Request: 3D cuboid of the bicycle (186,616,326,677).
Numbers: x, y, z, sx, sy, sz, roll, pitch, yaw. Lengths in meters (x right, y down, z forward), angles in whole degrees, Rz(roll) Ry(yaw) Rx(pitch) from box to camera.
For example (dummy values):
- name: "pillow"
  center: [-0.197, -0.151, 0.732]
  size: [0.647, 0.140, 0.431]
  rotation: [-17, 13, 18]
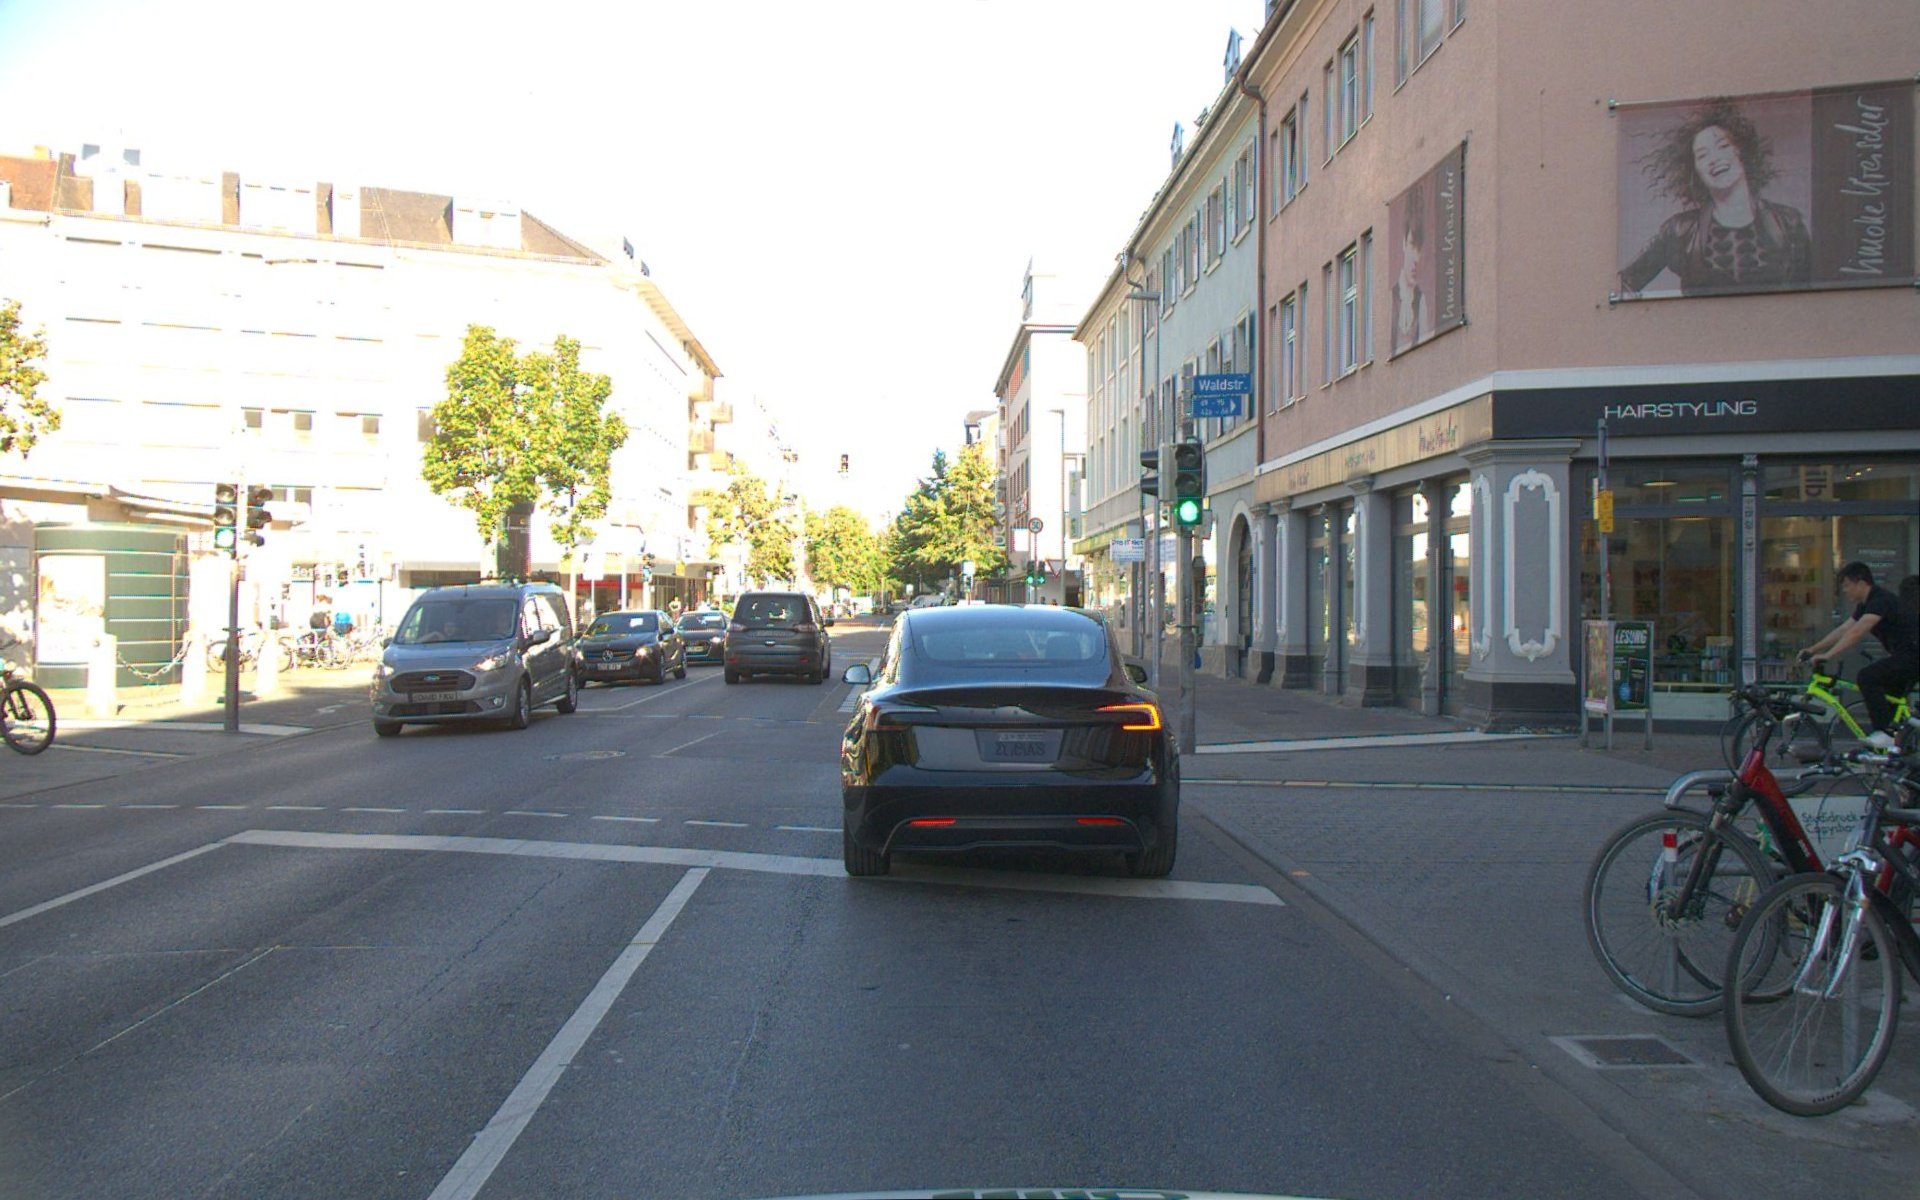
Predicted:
- name: "bicycle"
  center: [-14.212, 0.933, 33.453]
  size: [2.455, 1.176, 0.842]
  rotation: [0, 0, -3]

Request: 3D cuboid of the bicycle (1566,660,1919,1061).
- name: "bicycle"
  center: [3.234, 0.881, 5.909]
  size: [1.822, 1.280, 0.833]
  rotation: [-2, 0, 4]

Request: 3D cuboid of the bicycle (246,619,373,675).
- name: "bicycle"
  center: [-14.137, 1.020, 35.987]
  size: [2.412, 1.176, 0.842]
  rotation: [0, 0, -3]

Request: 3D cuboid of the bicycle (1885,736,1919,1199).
- name: "bicycle"
  center: [3.164, 0.921, 3.684]
  size: [1.760, 1.144, 0.782]
  rotation: [0, 0, 4]

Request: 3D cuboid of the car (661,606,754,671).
- name: "car"
  center: [-6.662, 0.977, 44.139]
  size: [1.954, 1.461, 4.671]
  rotation: [-4, 1, -3]

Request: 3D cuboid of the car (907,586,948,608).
- name: "car"
  center: [-3.129, -0.289, 158.660]
  size: [3.907, 2.049, 1.999]
  rotation: [0, 0, -3]

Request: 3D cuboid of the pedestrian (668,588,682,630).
- name: "pedestrian"
  center: [-14.099, 0.426, 81.920]
  size: [0.563, 2.049, 0.827]
  rotation: [1, 0, -5]

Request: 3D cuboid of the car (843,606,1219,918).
- name: "car"
  center: [0.306, 0.786, 9.960]
  size: [1.810, 1.480, 3.999]
  rotation: [0, 0, -1]

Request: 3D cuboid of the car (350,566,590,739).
- name: "car"
  center: [-6.174, 0.586, 21.415]
  size: [1.797, 1.877, 4.672]
  rotation: [-3, 1, -3]

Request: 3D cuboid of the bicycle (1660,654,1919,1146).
- name: "bicycle"
  center: [3.088, 0.817, 4.862]
  size: [1.709, 1.289, 0.781]
  rotation: [-1, 0, 2]

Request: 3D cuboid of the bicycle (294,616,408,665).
- name: "bicycle"
  center: [-14.943, 0.992, 40.661]
  size: [2.485, 1.176, 0.841]
  rotation: [0, 0, -7]

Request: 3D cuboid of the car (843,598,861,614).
- name: "car"
  center: [-11.631, 0.645, 178.002]
  size: [1.954, 1.666, 3.997]
  rotation: [0, 0, -4]

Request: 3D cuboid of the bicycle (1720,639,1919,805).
- name: "bicycle"
  center: [6.766, 0.887, 12.313]
  size: [1.926, 1.169, 0.791]
  rotation: [-1, 0, 18]

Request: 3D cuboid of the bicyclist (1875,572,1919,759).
- name: "bicyclist"
  center: [7.983, 0.516, 13.316]
  size: [0.926, 1.475, 0.806]
  rotation: [0, 0, 18]

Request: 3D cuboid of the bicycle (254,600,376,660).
- name: "bicycle"
  center: [-14.752, 0.686, 37.907]
  size: [2.430, 1.347, 0.921]
  rotation: [0, 0, -7]

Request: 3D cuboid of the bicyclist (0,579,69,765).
- name: "bicyclist"
  center: [-9.942, 0.716, 17.165]
  size: [0.930, 1.870, 0.788]
  rotation: [1, 0, 22]

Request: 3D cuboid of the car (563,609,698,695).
- name: "car"
  center: [-6.533, 0.978, 33.275]
  size: [1.954, 1.434, 4.671]
  rotation: [-4, 1, -3]

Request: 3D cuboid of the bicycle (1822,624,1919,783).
- name: "bicycle"
  center: [7.980, 0.827, 13.316]
  size: [1.756, 1.243, 0.681]
  rotation: [0, 0, 18]

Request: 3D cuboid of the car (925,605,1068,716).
- name: "car"
  center: [0.482, 0.872, 25.683]
  size: [1.953, 1.538, 4.173]
  rotation: [0, 0, -2]

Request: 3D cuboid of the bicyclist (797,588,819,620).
- name: "bicyclist"
  center: [-7.963, 0.194, 86.618]
  size: [1.104, 1.657, 0.964]
  rotation: [0, 0, -4]

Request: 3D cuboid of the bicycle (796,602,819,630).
- name: "bicycle"
  center: [-7.949, 0.822, 86.528]
  size: [1.089, 1.368, 3.997]
  rotation: [0, 0, -4]

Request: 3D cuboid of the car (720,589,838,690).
- name: "car"
  center: [-3.430, 0.692, 32.149]
  size: [1.953, 1.803, 4.726]
  rotation: [0, 0, -2]

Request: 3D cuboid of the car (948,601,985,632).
- name: "car"
  center: [0.337, 0.888, 91.912]
  size: [1.953, 1.657, 3.999]
  rotation: [0, 0, -1]

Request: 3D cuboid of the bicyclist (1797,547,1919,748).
- name: "bicyclist"
  center: [6.796, 0.340, 12.303]
  size: [0.903, 1.439, 0.806]
  rotation: [0, 0, 19]

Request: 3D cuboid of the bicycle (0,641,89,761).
- name: "bicycle"
  center: [-10.043, 1.017, 17.234]
  size: [2.019, 1.159, 0.538]
  rotation: [1, 0, 23]

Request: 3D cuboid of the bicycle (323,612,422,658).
- name: "bicycle"
  center: [-15.277, 0.907, 43.082]
  size: [2.279, 1.176, 0.841]
  rotation: [0, 0, -7]
